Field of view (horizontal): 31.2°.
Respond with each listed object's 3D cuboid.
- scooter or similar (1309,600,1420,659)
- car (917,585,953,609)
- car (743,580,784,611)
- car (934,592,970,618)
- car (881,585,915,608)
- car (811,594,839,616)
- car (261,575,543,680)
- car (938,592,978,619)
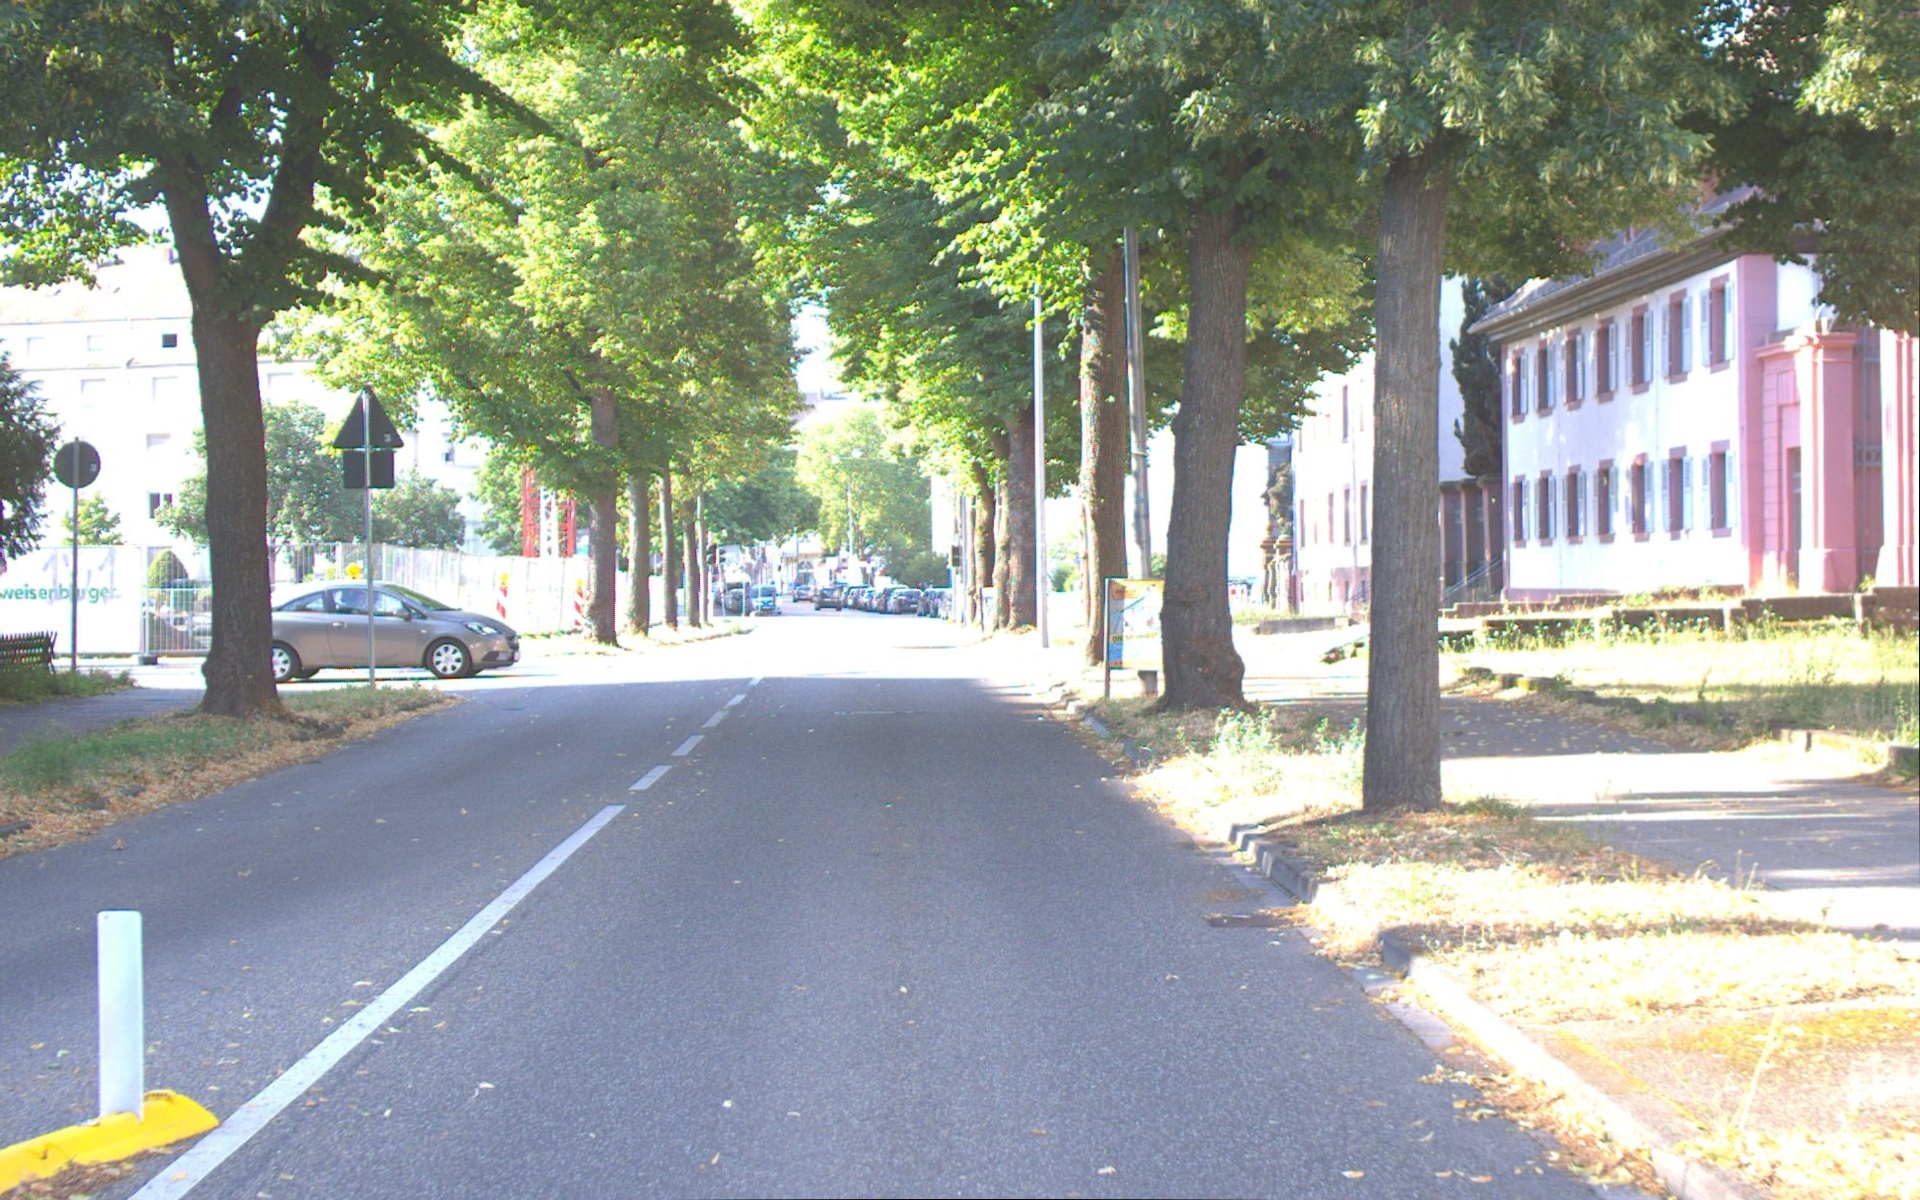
[{"bbox_3d":[5.229,0.375,44.521,1.225,0.547,1.064,-9,1,-1],"label":"scooter or similar"},{"bbox_3d":[-1.359,-0.151,186.040,1.841,1.257,4.000,-1,0,-2],"label":"car"},{"bbox_3d":[-10.938,-0.240,191.070,1.993,1.682,4.001,-1,-1,-7],"label":"car"},{"bbox_3d":[-0.410,0.254,178.955,1.841,1.257,4.000,-1,1,0],"label":"car"},{"bbox_3d":[-3.895,-0.221,215.172,1.841,1.381,4.000,-1,0,-5],"label":"car"},{"bbox_3d":[-9.394,0.348,239.391,1.714,1.481,4.000,-2,0,-5],"label":"car"},{"bbox_3d":[-8.157,0.395,50.464,3.844,1.468,1.651,-1,0,1],"label":"car"},{"bbox_3d":[-0.122,0.291,168.410,1.841,1.257,4.000,-1,0,-2],"label":"car"}]
